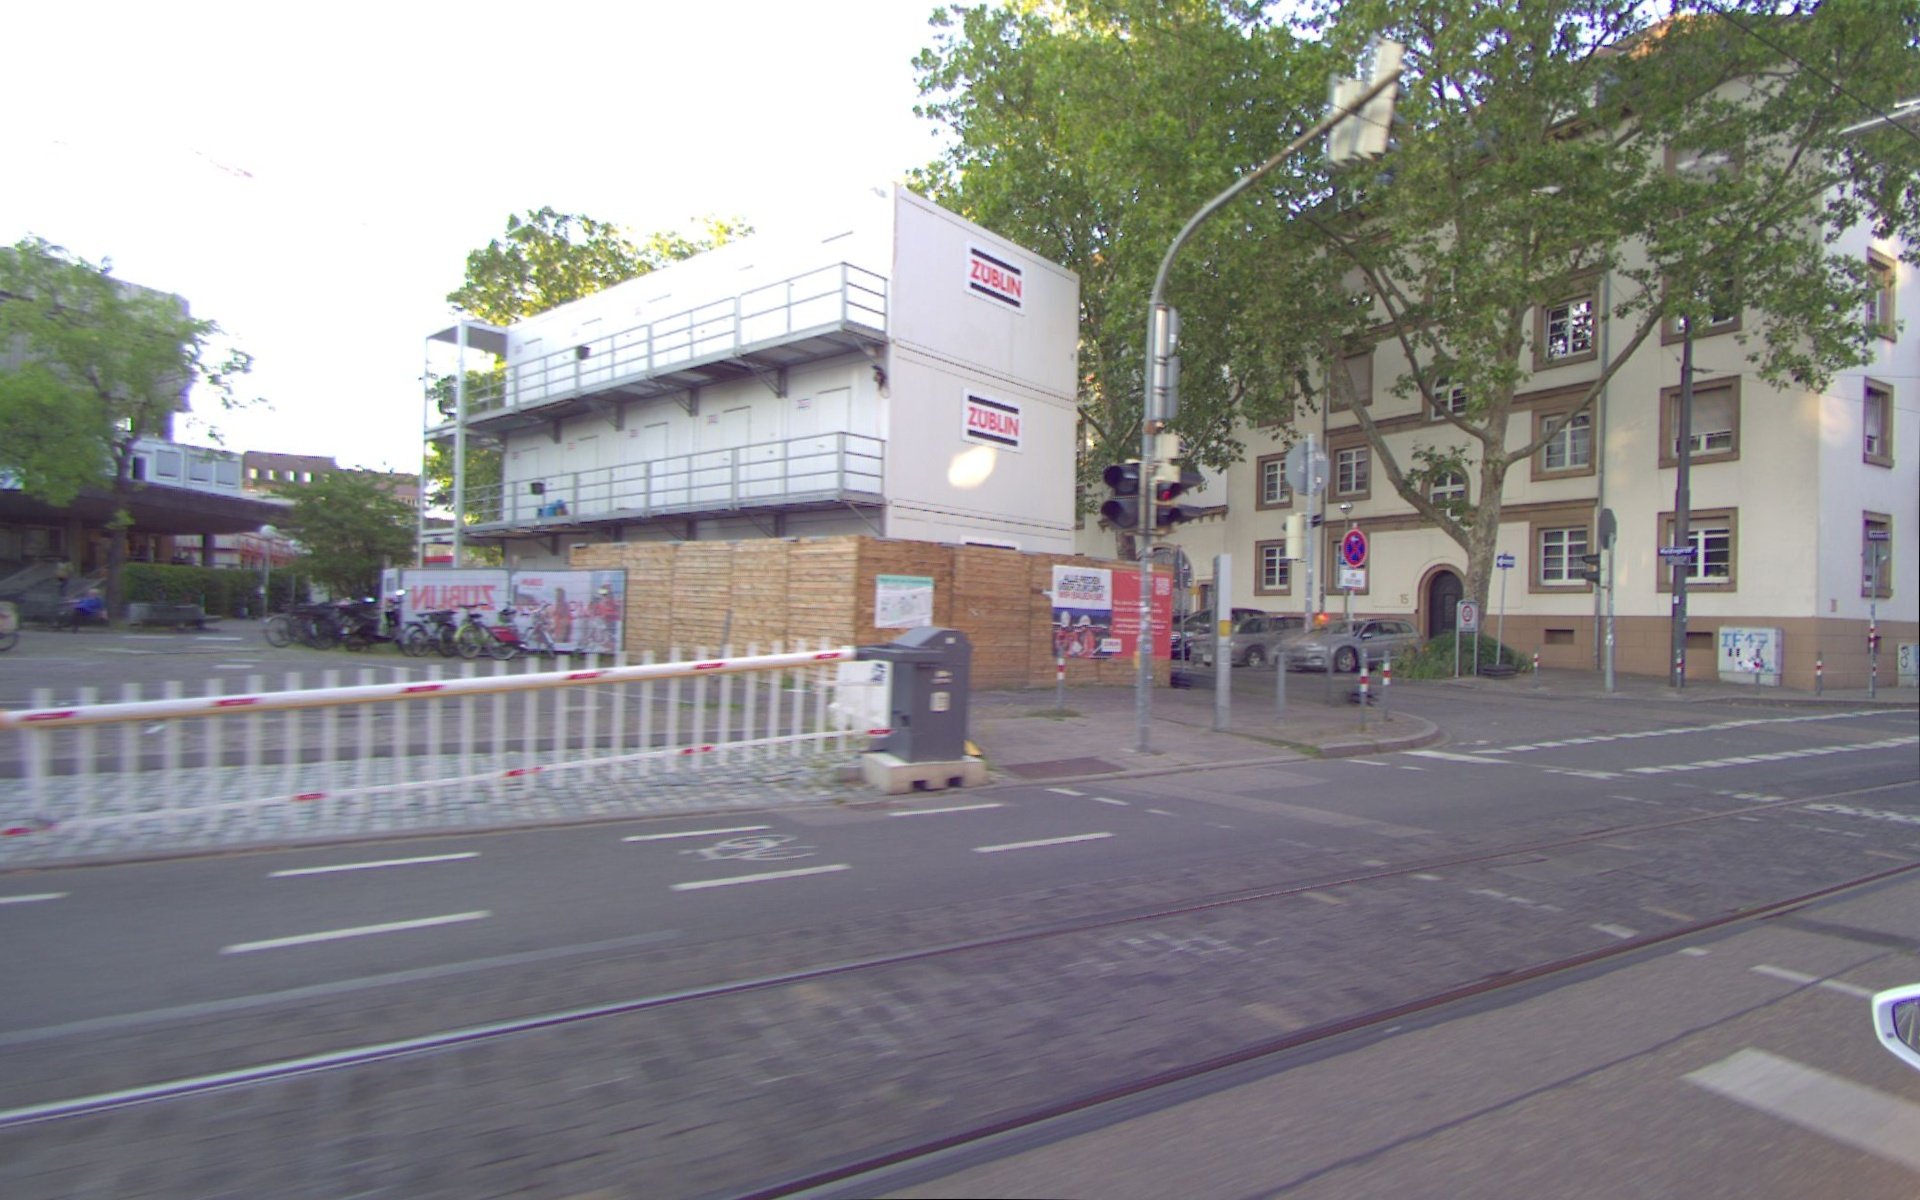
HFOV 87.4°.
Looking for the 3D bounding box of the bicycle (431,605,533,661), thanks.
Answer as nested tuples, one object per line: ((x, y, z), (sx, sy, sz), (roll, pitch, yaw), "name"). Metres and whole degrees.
((-10.015, 0.675, 21.120), (0.533, 1.120, 1.973), (1, 0, 30), "bicycle")

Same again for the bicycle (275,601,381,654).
((-14.073, 0.605, 22.429), (0.533, 1.120, 1.973), (1, 0, 30), "bicycle")

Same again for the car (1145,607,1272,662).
((8.295, 1.098, 33.425), (4.043, 1.635, 1.745), (-1, 1, -30), "car")

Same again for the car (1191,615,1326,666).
((9.369, 1.231, 31.464), (4.043, 1.378, 1.745), (-1, 1, -30), "car")

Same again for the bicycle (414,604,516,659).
((-10.561, 0.665, 21.503), (0.533, 1.120, 1.973), (1, 0, 30), "bicycle")

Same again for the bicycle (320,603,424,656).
((-12.978, 0.635, 22.226), (0.533, 1.120, 1.973), (1, 0, 30), "bicycle")

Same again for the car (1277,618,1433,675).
((11.220, 1.274, 28.478), (4.420, 1.378, 1.745), (-1, 1, -30), "car")

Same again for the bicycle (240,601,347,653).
((-15.048, 0.603, 22.749), (0.533, 1.120, 1.973), (1, 0, 30), "bicycle")

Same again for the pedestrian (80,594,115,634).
((-23.689, 0.388, 27.596), (0.624, 1.085, 0.755), (1, 0, -34), "pedestrian")

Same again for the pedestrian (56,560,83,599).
((-33.300, -0.766, 37.583), (0.624, 1.442, 0.755), (1, 0, -34), "pedestrian")

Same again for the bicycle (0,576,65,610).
((-34.863, -0.266, 37.352), (2.226, 1.197, 0.810), (1, 0, -14), "bicycle")

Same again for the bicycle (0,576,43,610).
((-34.745, -0.268, 36.292), (2.226, 1.197, 0.810), (1, 0, -14), "bicycle")

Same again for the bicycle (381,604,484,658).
((-11.384, 0.659, 21.740), (0.533, 1.120, 1.973), (1, 0, 30), "bicycle")

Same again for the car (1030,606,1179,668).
((3.612, 0.885, 25.757), (1.737, 1.378, 4.062), (-1, 1, -28), "car")

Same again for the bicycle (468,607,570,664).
((-9.100, 0.713, 20.816), (0.533, 1.120, 1.973), (1, 0, 30), "bicycle")
